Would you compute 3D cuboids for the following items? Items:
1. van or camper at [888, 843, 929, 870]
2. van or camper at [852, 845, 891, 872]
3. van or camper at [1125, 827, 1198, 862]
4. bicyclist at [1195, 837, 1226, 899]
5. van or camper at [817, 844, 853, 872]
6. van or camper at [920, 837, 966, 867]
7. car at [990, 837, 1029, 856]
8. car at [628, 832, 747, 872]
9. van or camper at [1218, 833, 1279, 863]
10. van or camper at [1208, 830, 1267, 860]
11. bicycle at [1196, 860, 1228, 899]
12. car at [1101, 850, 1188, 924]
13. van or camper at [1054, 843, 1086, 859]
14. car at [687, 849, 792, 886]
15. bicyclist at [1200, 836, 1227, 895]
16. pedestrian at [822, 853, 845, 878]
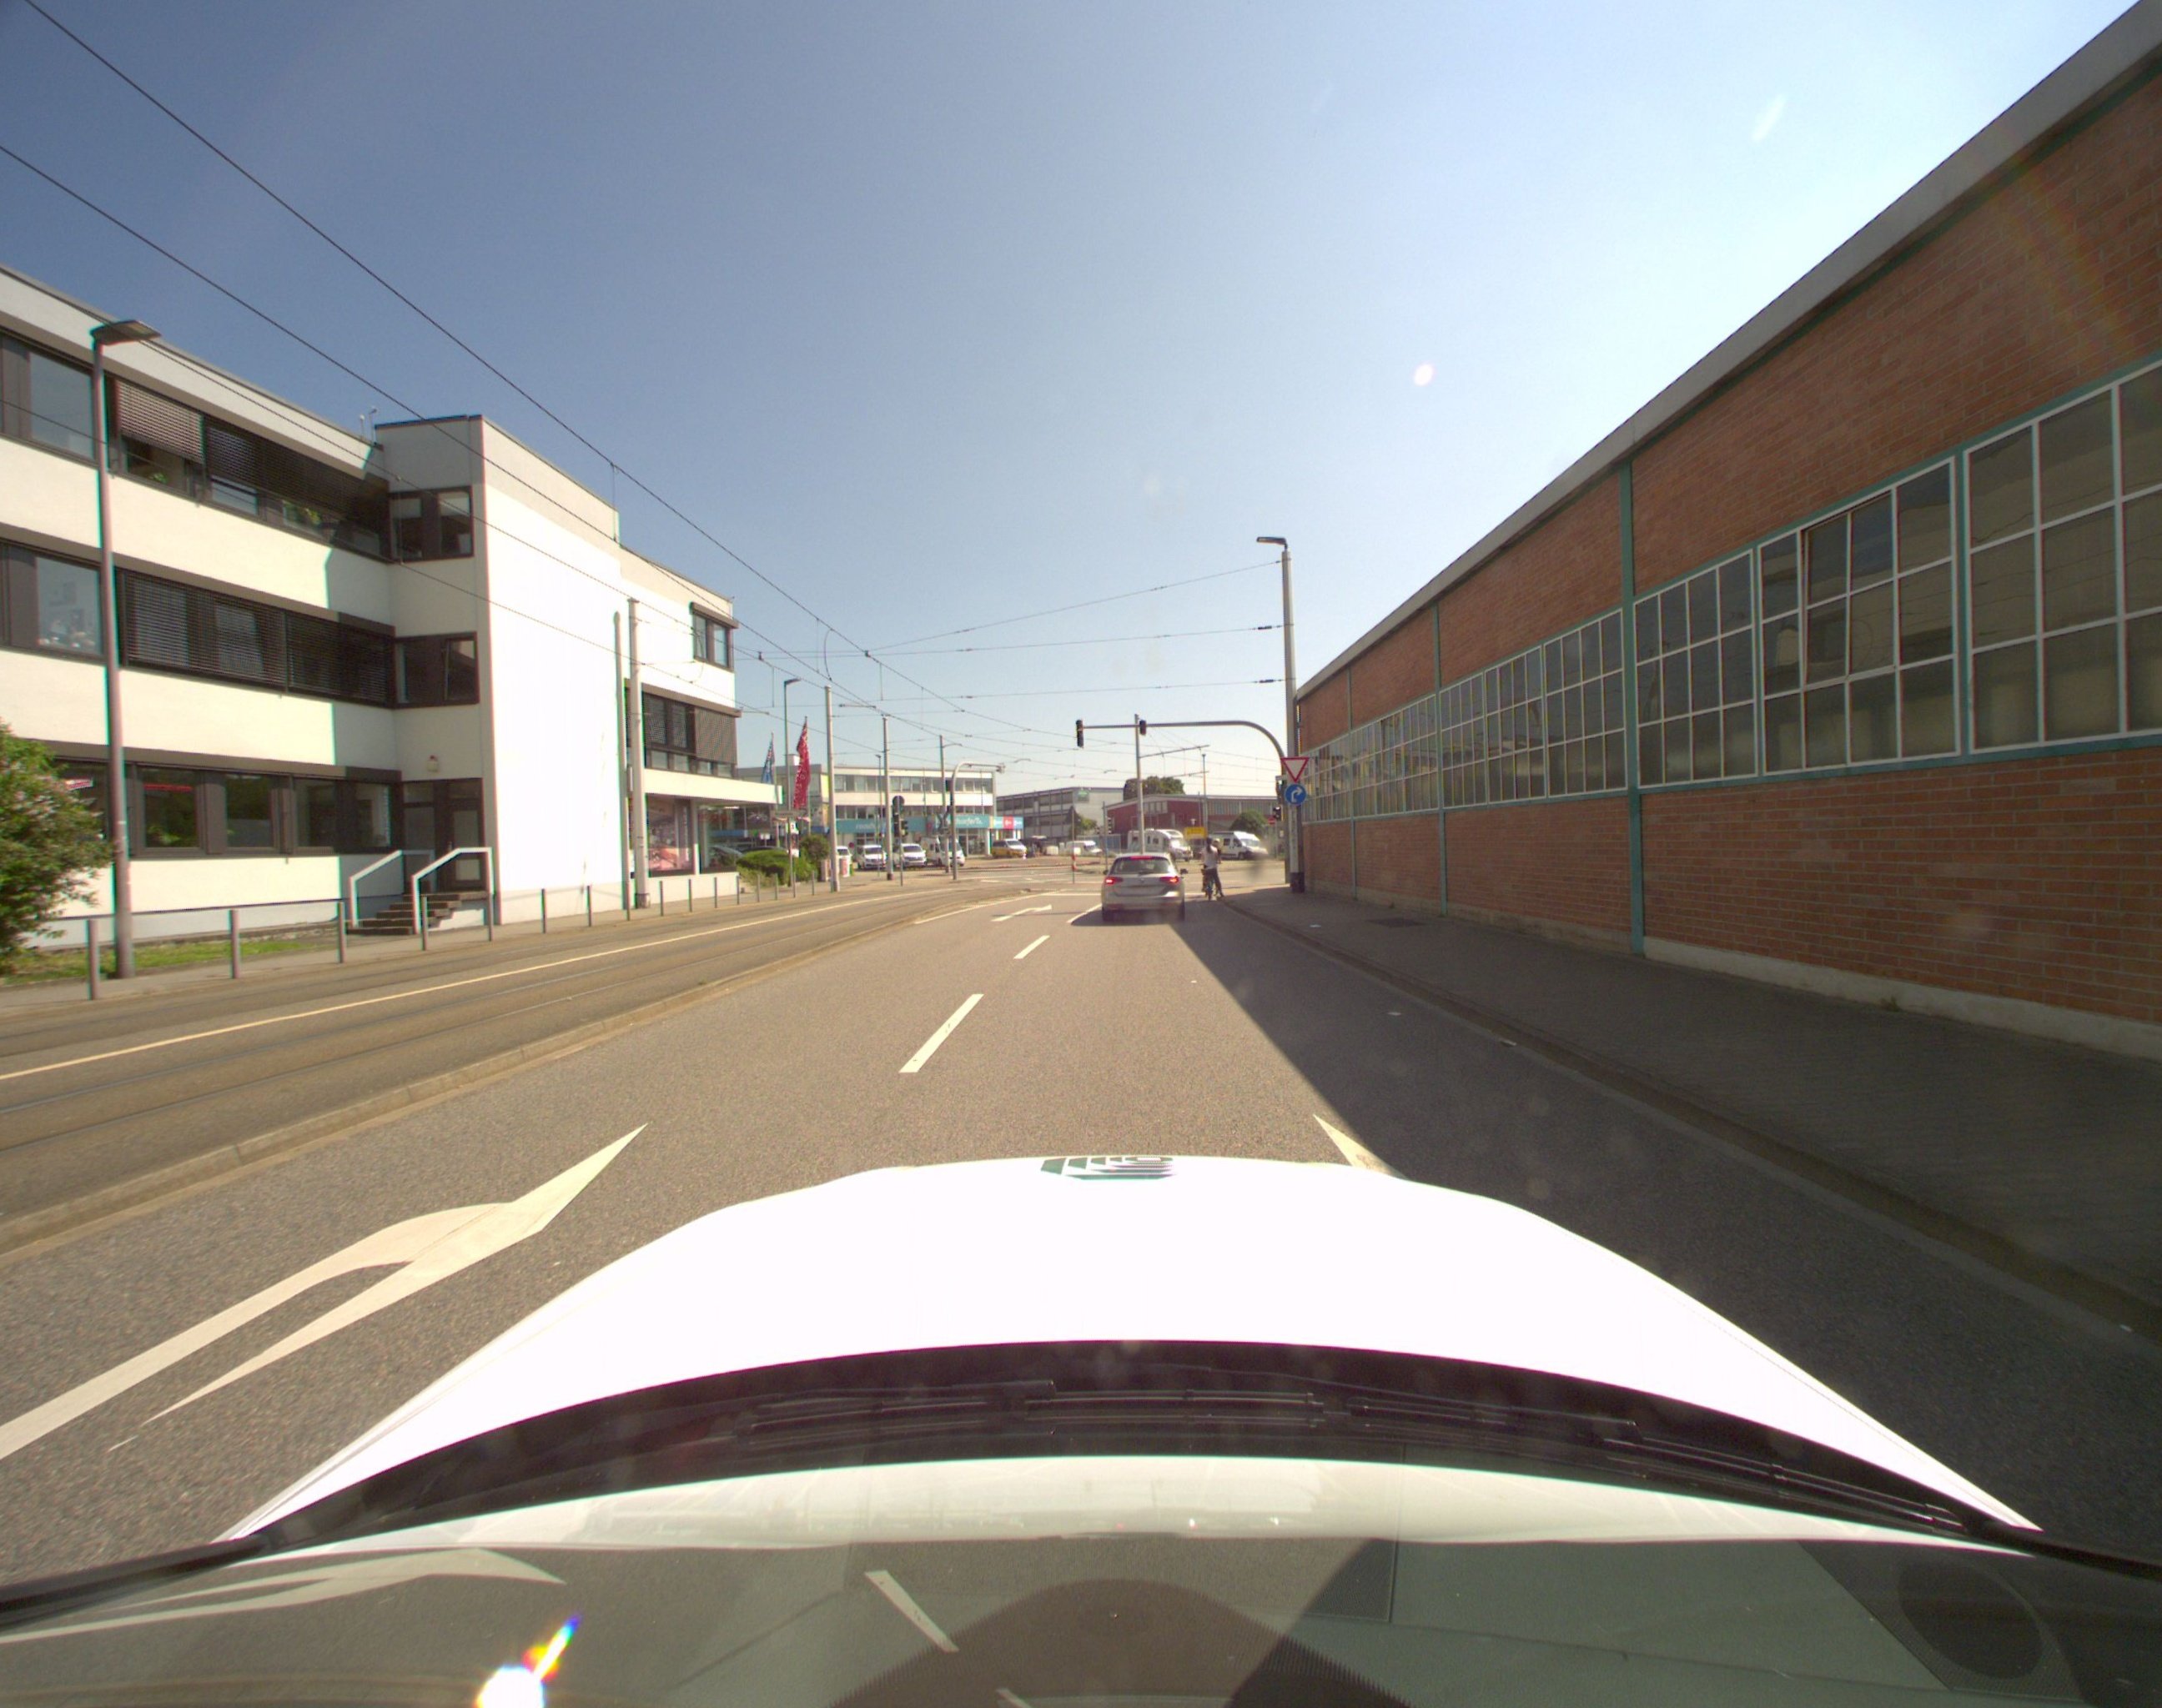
[{"bbox_3d":[-14.335,0.128,67.599,2.005,2.013,4.966,-3,3,-28],"label":"van or camper"},{"bbox_3d":[-17.287,0.305,67.075,2.005,2.013,4.720,-3,3,-28],"label":"van or camper"},{"bbox_3d":[7.179,-0.922,73.644,2.366,2.930,6.905,-3,3,-40],"label":"van or camper"},{"bbox_3d":[3.668,0.385,23.174,0.782,1.721,1.149,-1,0,6],"label":"bicyclist"},{"bbox_3d":[-20.336,0.297,67.205,2.005,2.013,4.720,-3,3,-28],"label":"van or camper"},{"bbox_3d":[-11.706,-0.189,68.792,2.043,2.295,5.761,-3,3,-28],"label":"van or camper"},{"bbox_3d":[-7.280,-0.717,82.468,1.951,1.759,5.071,-2,0,-31],"label":"car"},{"bbox_3d":[-16.428,-0.086,34.099,3.968,1.563,2.003,-1,0,5],"label":"car"},{"bbox_3d":[16.027,-0.627,78.187,2.299,2.611,5.831,-3,3,-34],"label":"van or camper"},{"bbox_3d":[14.215,-0.852,74.259,2.299,2.439,5.331,-3,4,-34],"label":"van or camper"},{"bbox_3d":[3.729,0.697,23.334,0.790,1.021,2.154,-1,0,6],"label":"bicycle"},{"bbox_3d":[1.480,0.677,18.727,1.738,1.459,4.006,-2,0,5],"label":"car"},{"bbox_3d":[-1.469,-0.409,108.850,2.012,1.947,3.951,-1,0,-44],"label":"van or camper"},{"bbox_3d":[-15.842,0.588,37.914,3.968,1.518,2.003,-1,2,5],"label":"car"},{"bbox_3d":[4.135,0.354,25.436,0.704,1.810,0.984,-1,0,5],"label":"bicyclist"},{"bbox_3d":[-14.575,0.664,47.984,1.129,1.455,0.835,-1,0,-7],"label":"pedestrian"}]
